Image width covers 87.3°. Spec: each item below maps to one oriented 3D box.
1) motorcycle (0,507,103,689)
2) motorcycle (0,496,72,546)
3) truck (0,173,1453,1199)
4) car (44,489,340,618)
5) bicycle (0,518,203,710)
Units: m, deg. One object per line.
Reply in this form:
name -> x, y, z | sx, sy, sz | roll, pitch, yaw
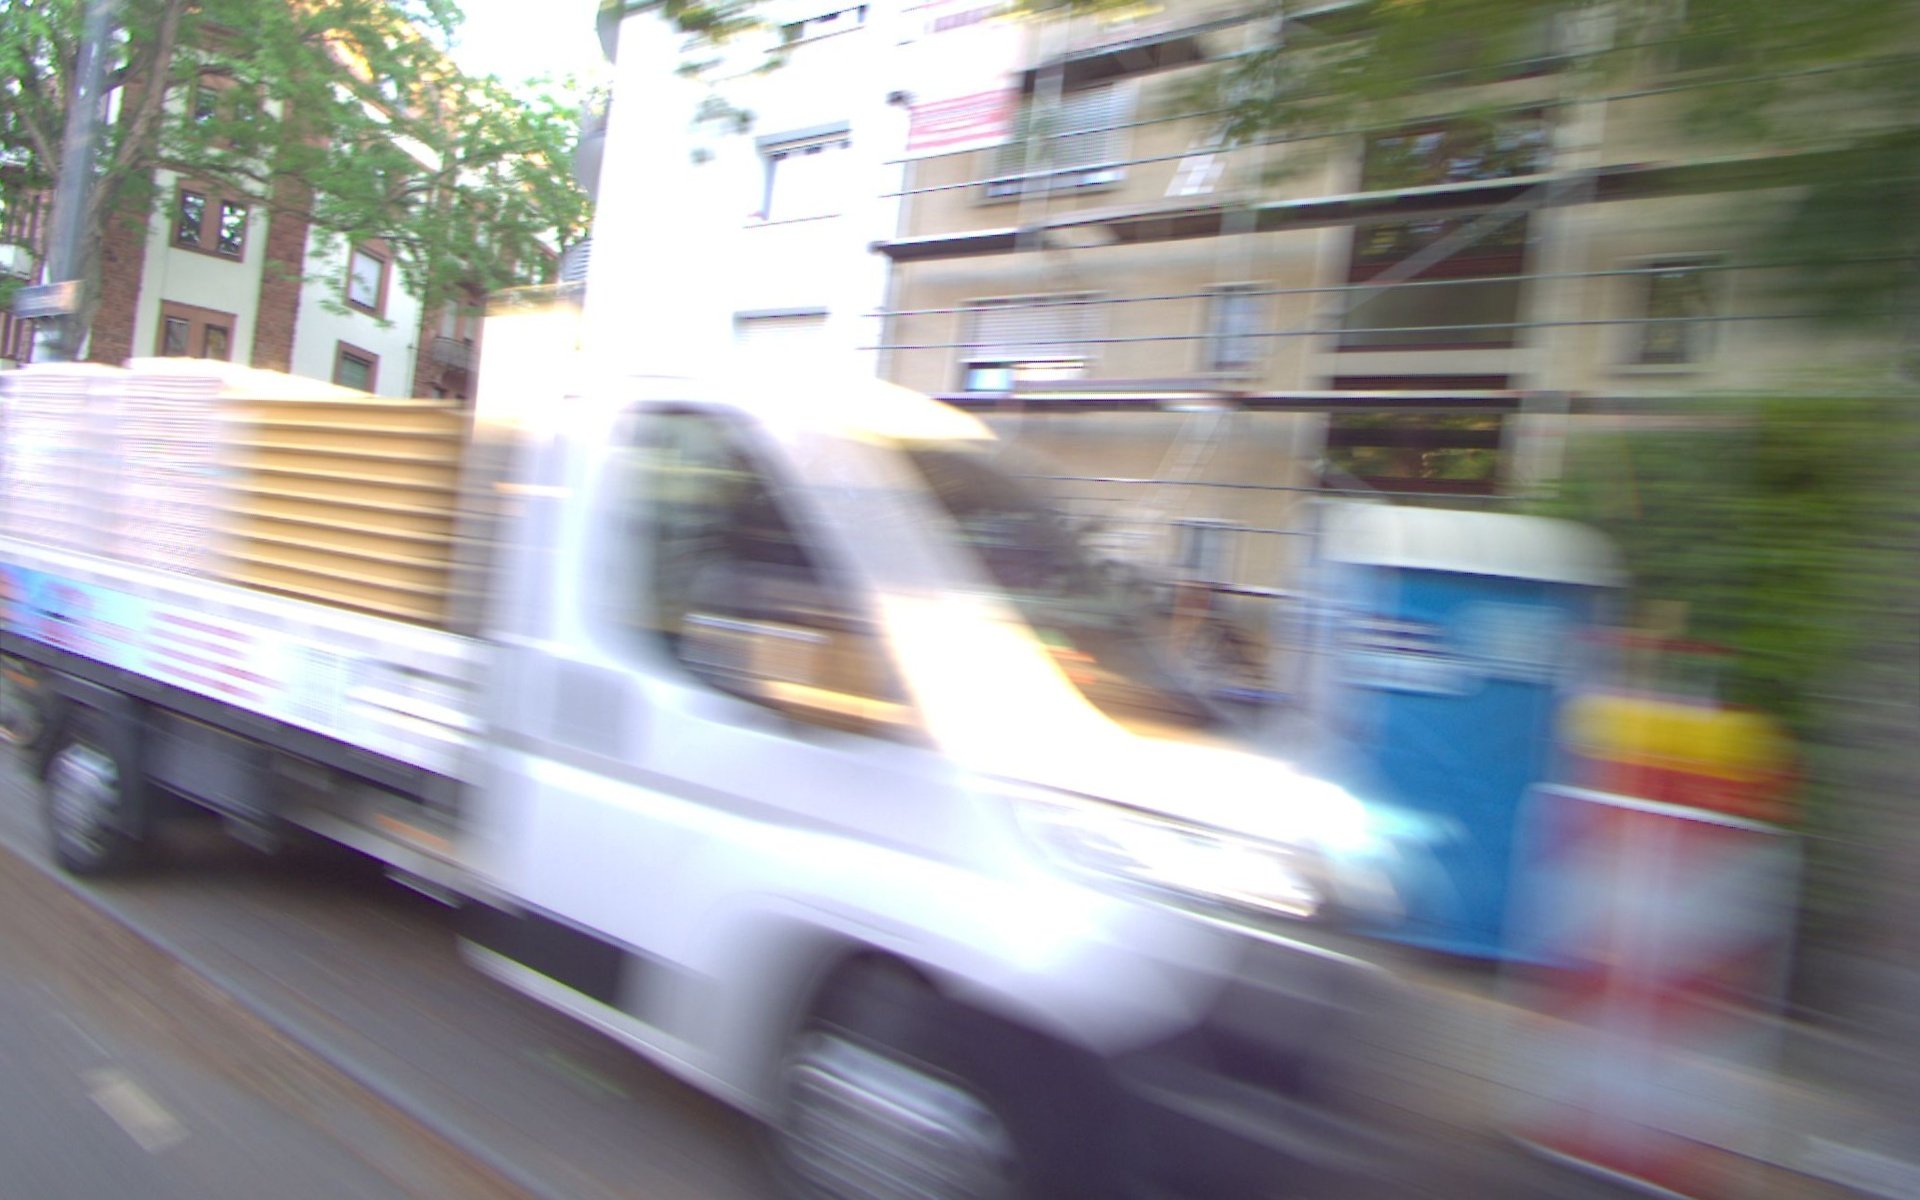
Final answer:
motorcycle -> -7.950, -0.065, 8.600 | 2.031, 1.374, 0.501 | 6, 1, 38
motorcycle -> -23.106, -1.942, 25.058 | 0.431, 1.092, 2.105 | 8, 0, -13
truck -> -1.850, 0.196, 4.119 | 6.661, 2.271, 1.981 | 7, -1, 30
car -> -12.278, -0.658, 16.379 | 1.595, 1.592, 3.481 | 9, 0, 12
bicycle -> -6.512, 0.093, 7.033 | 0.400, 1.275, 1.906 | 7, 1, 26
